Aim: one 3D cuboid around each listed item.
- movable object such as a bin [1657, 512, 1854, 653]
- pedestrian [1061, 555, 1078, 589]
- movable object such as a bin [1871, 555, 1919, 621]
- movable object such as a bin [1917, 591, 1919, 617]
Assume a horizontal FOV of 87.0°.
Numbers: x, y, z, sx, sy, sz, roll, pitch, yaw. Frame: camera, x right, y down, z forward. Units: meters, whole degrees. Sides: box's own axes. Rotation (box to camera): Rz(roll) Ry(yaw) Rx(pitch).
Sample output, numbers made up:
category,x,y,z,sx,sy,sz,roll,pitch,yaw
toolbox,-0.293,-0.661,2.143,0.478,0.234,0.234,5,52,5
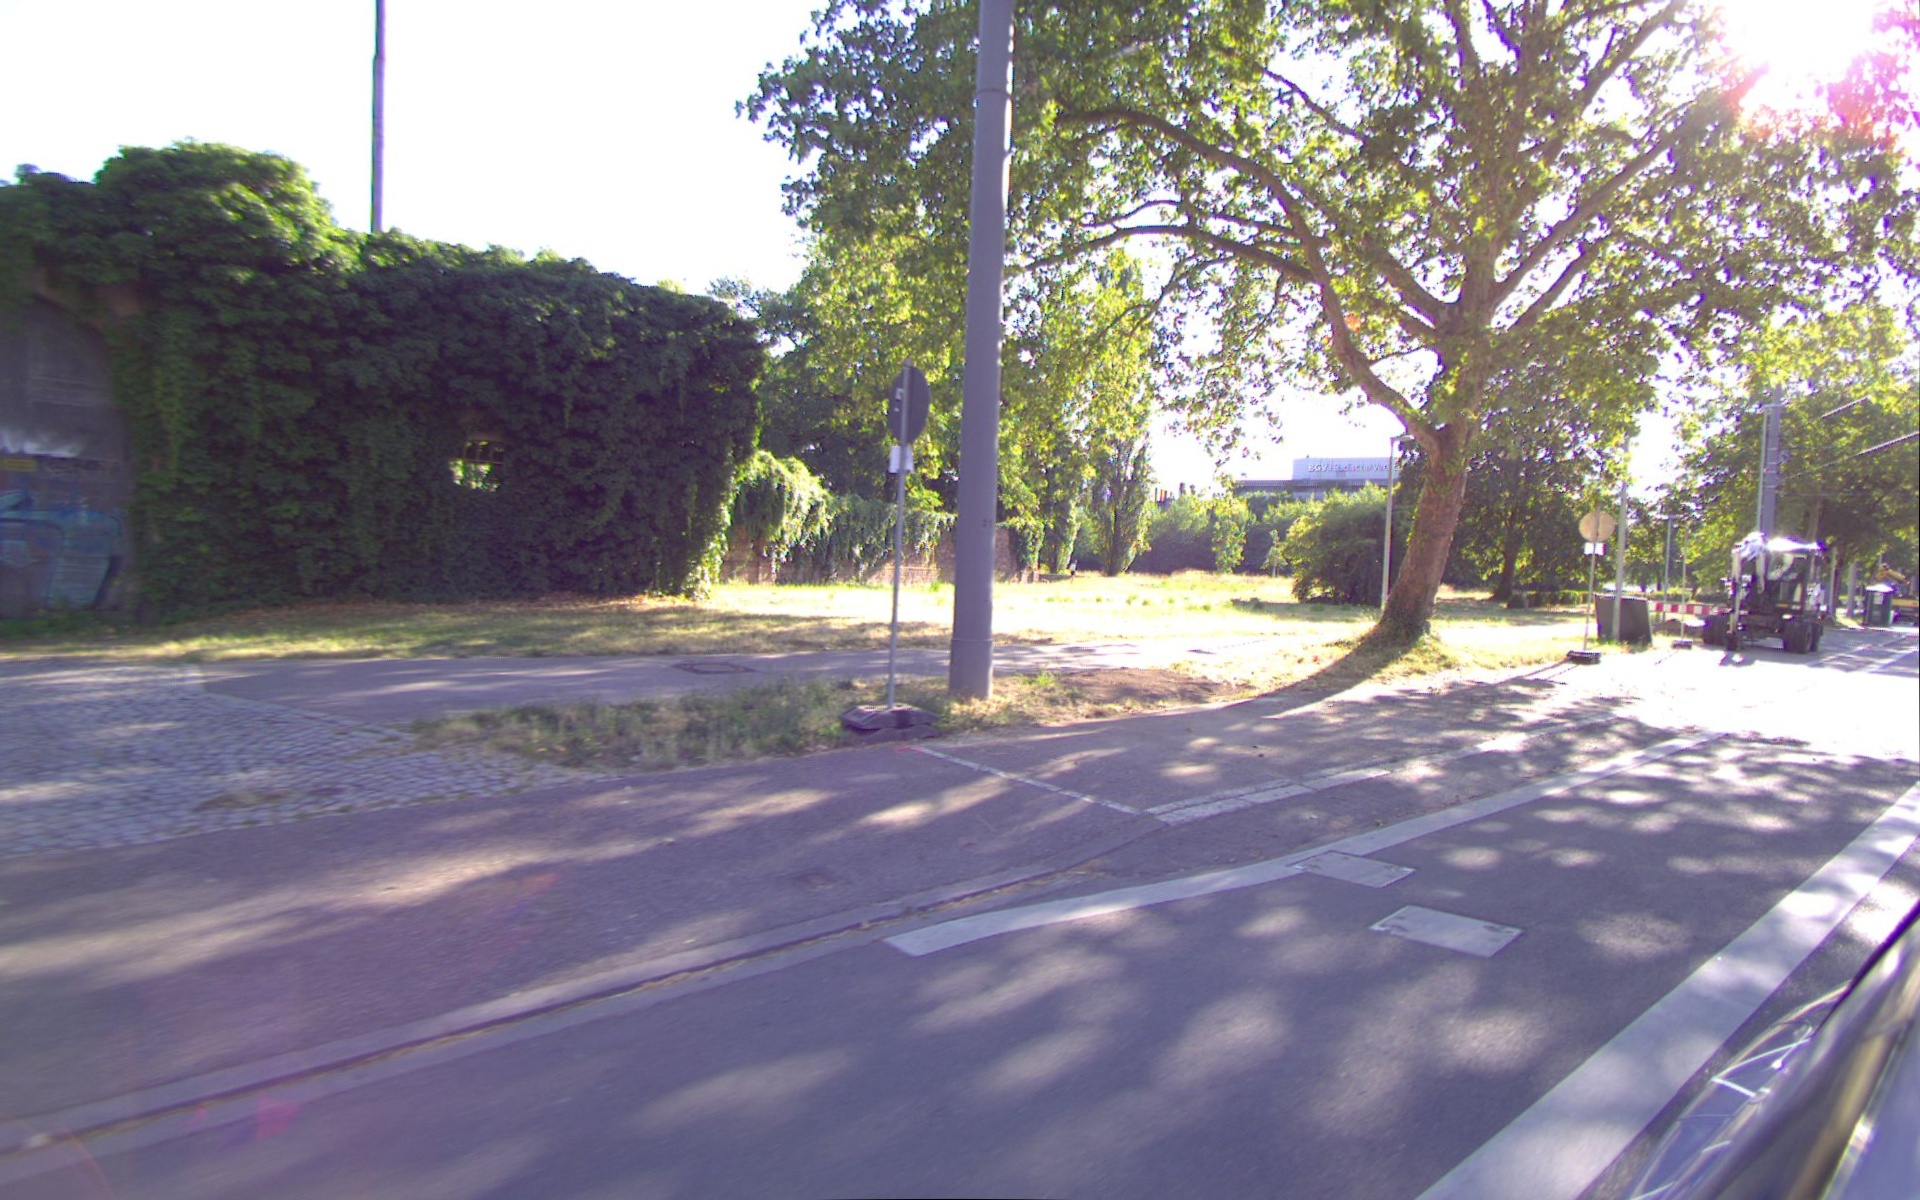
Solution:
category,x,y,z,sx,sy,sz,roll,pitch,yaw
movable object such as a bin,21.410,-0.473,27.073,7.095,3.182,2.751,1,5,-42
pedestrian,6.679,-1.720,61.648,0.854,2.039,1.263,0,1,16
movable object such as a bin,63.565,-0.759,67.627,3.343,4.023,7.476,8,5,44
movable object such as a bin,78.410,-0.863,80.417,2.918,4.664,7.476,8,5,44
